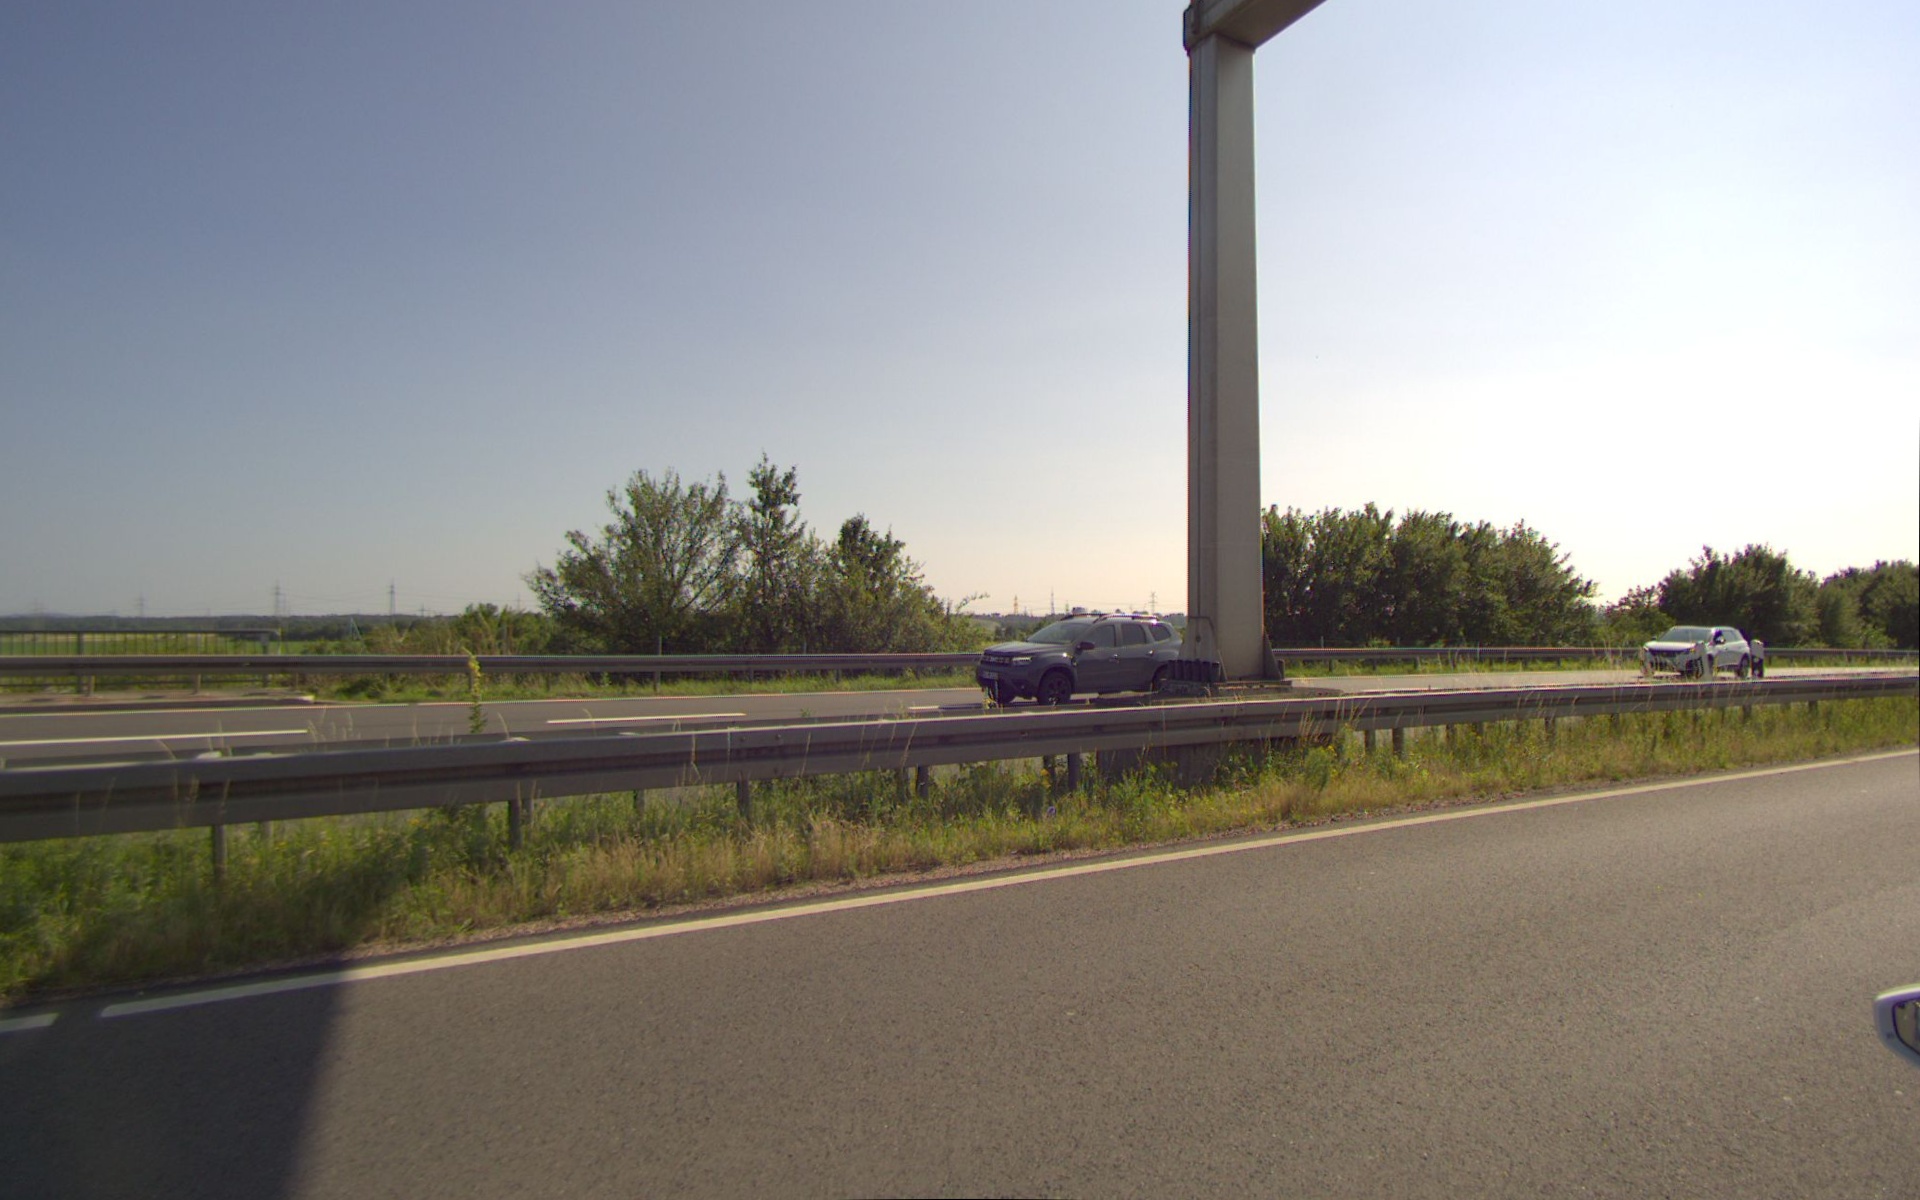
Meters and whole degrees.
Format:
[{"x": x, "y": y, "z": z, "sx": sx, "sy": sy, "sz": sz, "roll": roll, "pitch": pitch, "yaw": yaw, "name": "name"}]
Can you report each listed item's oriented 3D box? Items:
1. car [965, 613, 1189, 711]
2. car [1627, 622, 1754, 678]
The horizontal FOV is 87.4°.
[{"x": 2.207, "y": 1.067, "z": 18.646, "sx": 3.959, "sy": 1.639, "sz": 1.723, "roll": 1, "pitch": 0, "yaw": -33, "name": "car"}, {"x": 23.838, "y": 1.575, "z": 32.722, "sx": 4.581, "sy": 1.642, "sz": 1.890, "roll": 1, "pitch": 0, "yaw": -34, "name": "car"}]
